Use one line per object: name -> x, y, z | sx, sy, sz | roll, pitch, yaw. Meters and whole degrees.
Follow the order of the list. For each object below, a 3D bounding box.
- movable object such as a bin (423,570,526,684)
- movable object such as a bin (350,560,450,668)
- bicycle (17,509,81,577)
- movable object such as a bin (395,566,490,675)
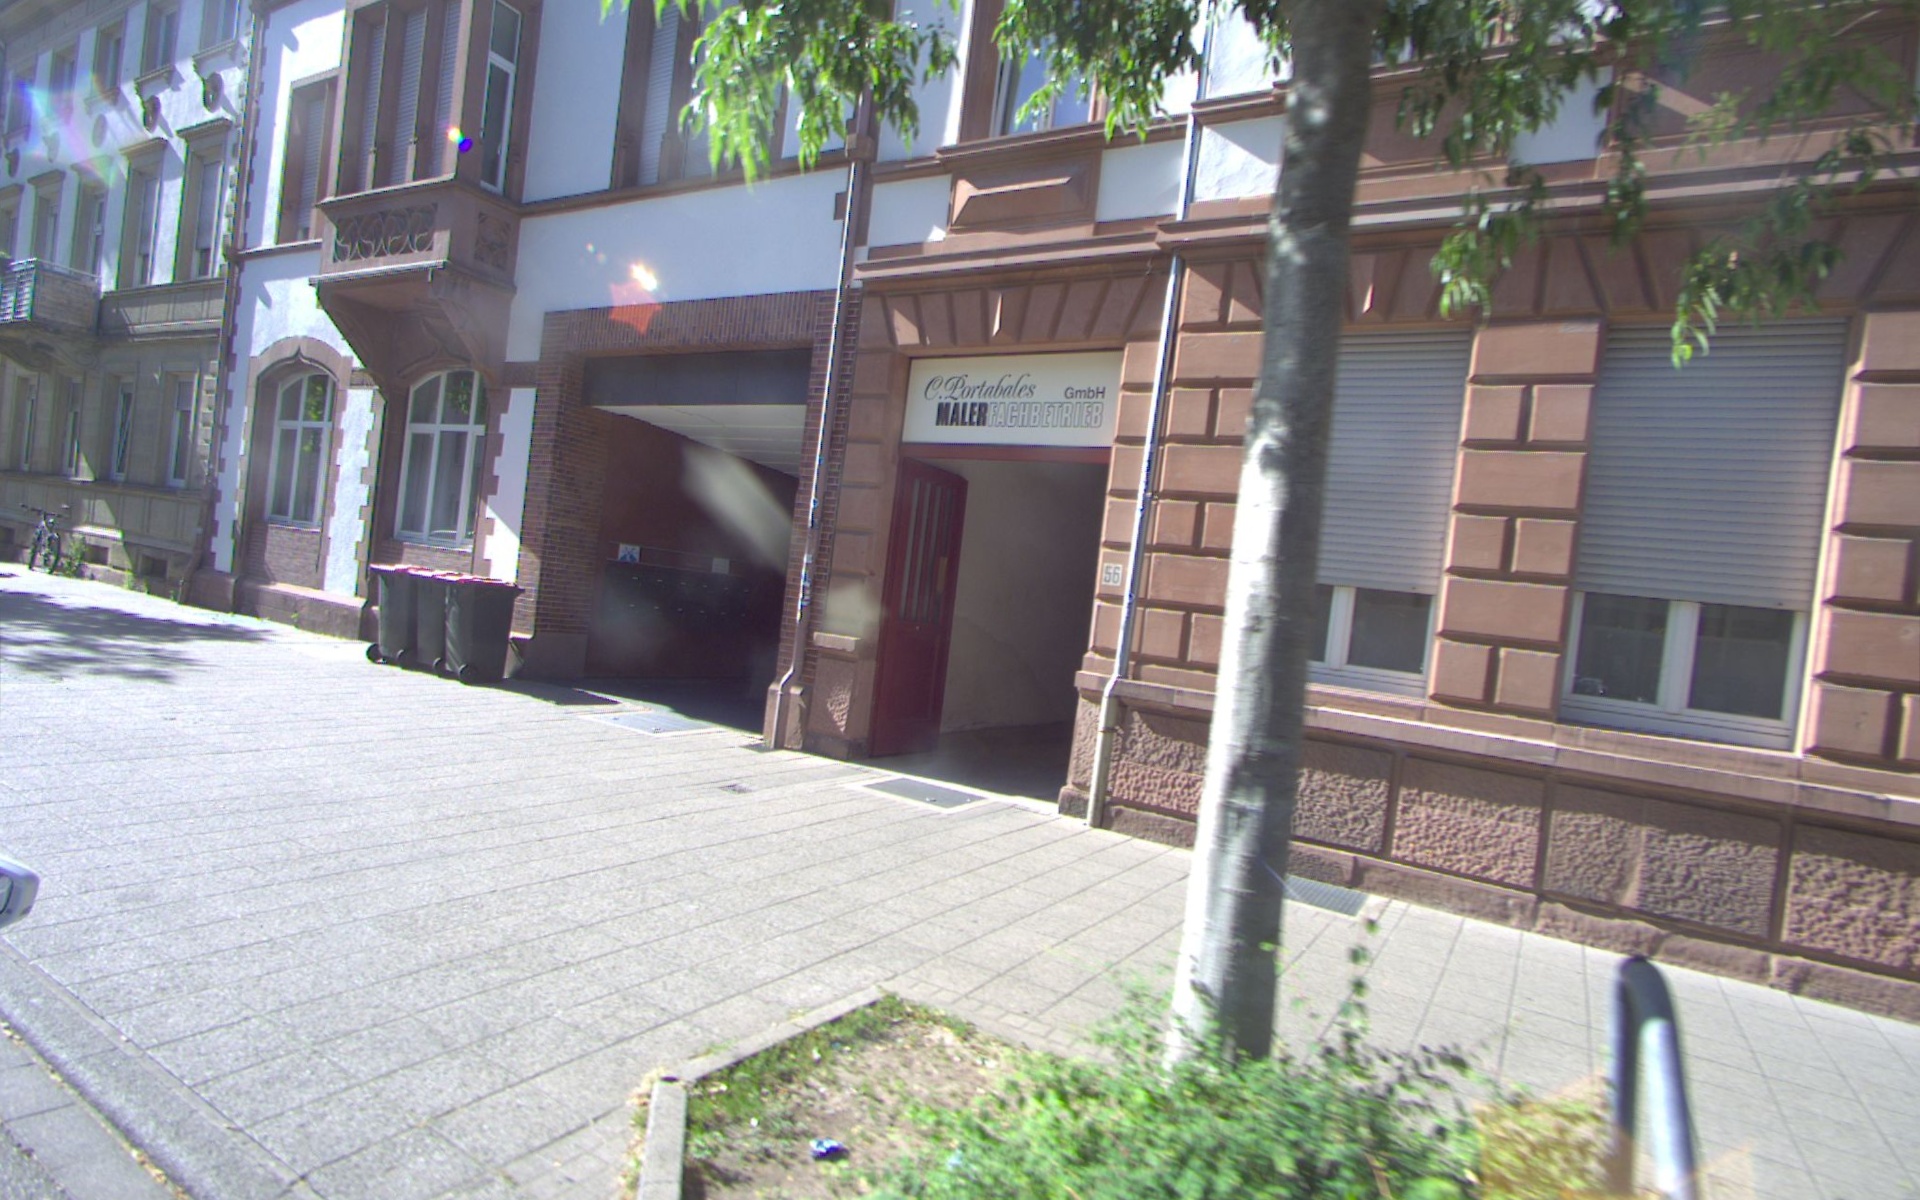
movable object such as a bin -> -5.052, 0.286, 10.473 | 0.628, 1.082, 0.638 | 7, 1, 31
movable object such as a bin -> -6.086, 0.159, 10.945 | 0.621, 1.082, 0.638 | 7, 1, 31
bicycle -> -15.903, -1.001, 17.556 | 1.404, 1.045, 0.432 | 7, 5, 31
movable object such as a bin -> -5.525, 0.229, 10.754 | 0.513, 1.082, 0.638 | 7, 1, 31
